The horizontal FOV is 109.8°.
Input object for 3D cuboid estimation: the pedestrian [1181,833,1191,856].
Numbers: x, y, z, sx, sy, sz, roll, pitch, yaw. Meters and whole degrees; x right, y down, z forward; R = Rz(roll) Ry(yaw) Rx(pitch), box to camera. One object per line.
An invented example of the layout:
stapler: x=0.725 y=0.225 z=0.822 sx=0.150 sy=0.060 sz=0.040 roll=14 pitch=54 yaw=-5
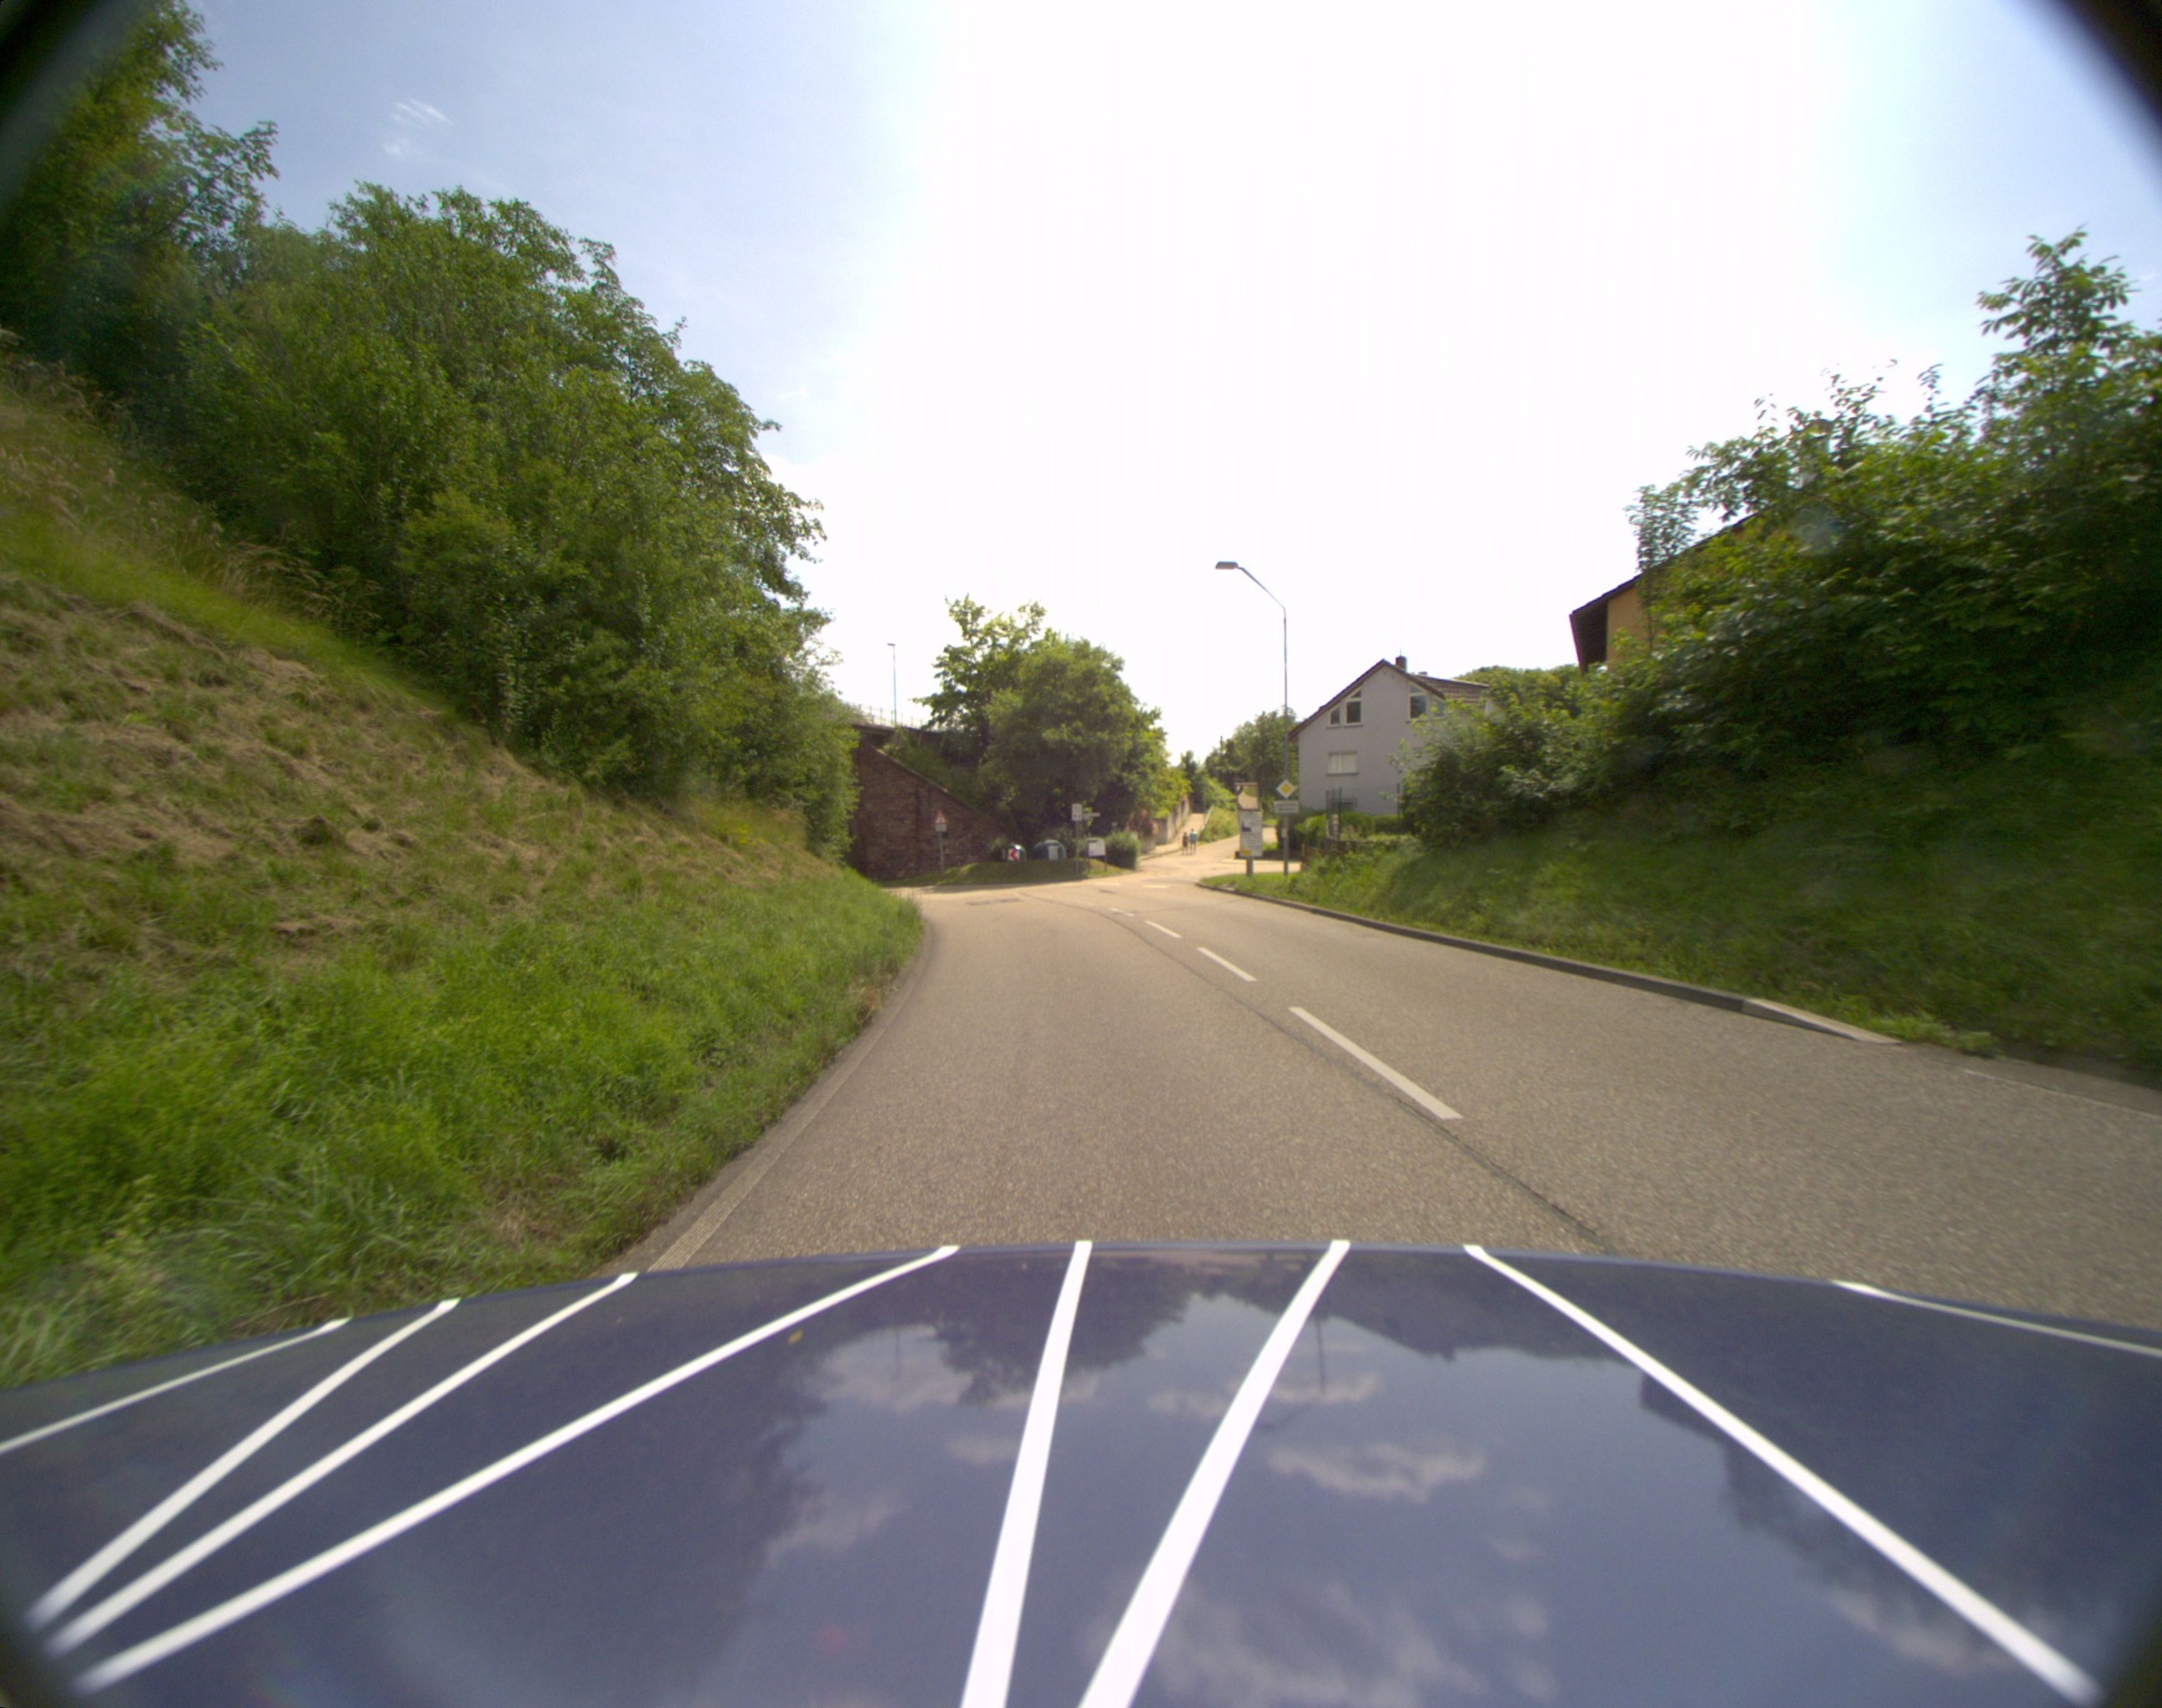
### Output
pedestrian: x=7.277 y=-0.688 z=52.740 sx=0.573 sy=1.546 sz=0.599 roll=-3 pitch=2 yaw=14

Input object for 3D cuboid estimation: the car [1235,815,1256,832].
car: x=17.776 y=-3.238 z=82.228 sx=1.854 sy=1.633 sz=4.394 roll=-3 pitch=1 yaw=9

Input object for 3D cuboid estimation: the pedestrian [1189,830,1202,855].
pedestrian: x=7.979 y=-0.796 z=52.954 sx=0.686 sy=1.703 sz=0.790 roll=-3 pitch=2 yaw=14
